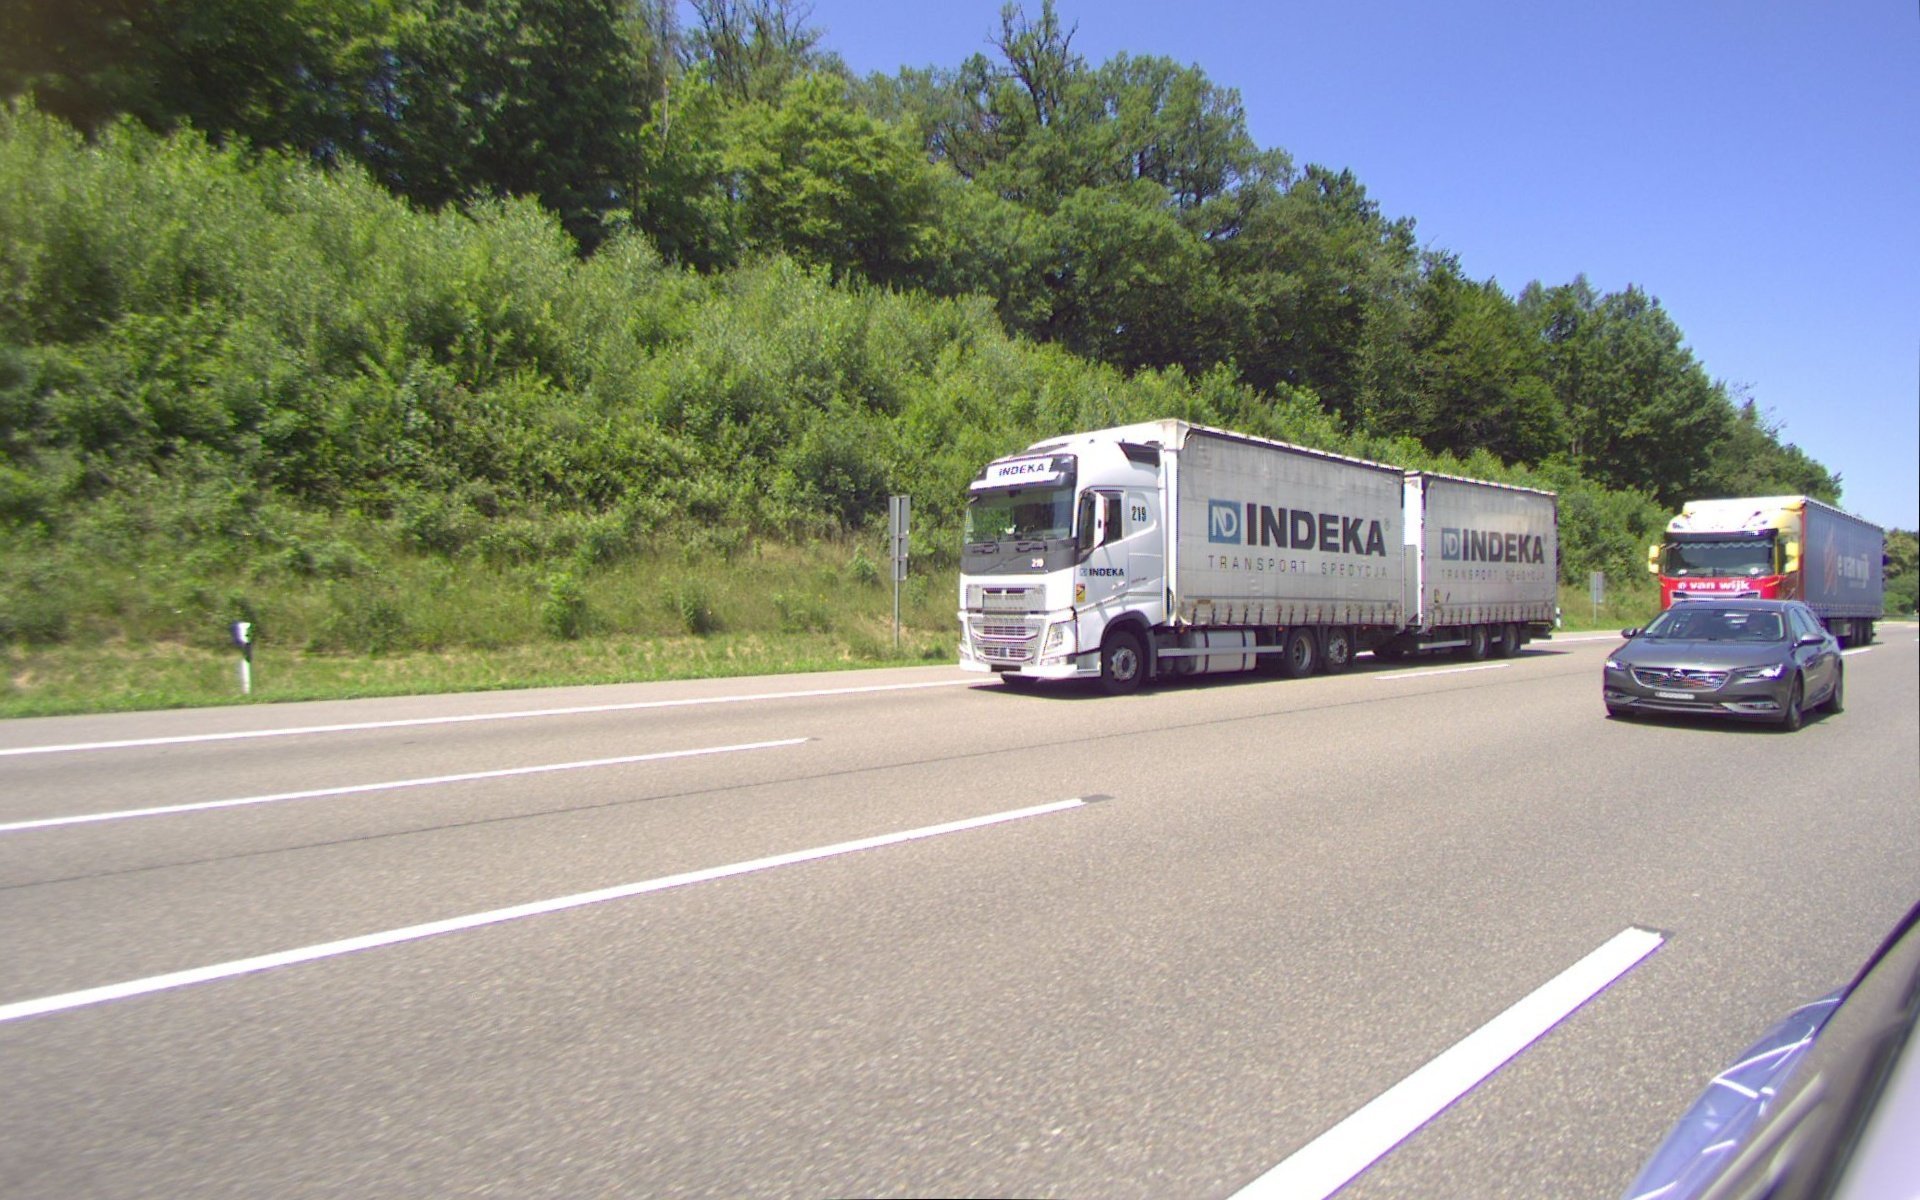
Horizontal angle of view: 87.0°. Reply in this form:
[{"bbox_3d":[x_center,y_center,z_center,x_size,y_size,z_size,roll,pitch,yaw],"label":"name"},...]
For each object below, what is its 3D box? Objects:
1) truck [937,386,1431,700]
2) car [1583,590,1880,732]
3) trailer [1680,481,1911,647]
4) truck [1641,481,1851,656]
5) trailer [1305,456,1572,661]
[{"bbox_3d":[4.612,-0.813,18.110,10.777,4.213,2.727,-1,0,-41],"label":"truck"},{"bbox_3d":[9.985,0.632,12.923,5.132,1.471,1.970,0,-1,-41],"label":"car"},{"bbox_3d":[26.266,-0.955,31.314,14.585,4.194,2.925,0,2,-40],"label":"trailer"},{"bbox_3d":[21.069,-0.748,26.957,7.407,4.031,3.016,0,1,-41],"label":"truck"},{"bbox_3d":[11.557,-0.871,23.962,8.235,4.121,2.584,0,0,-41],"label":"trailer"}]
